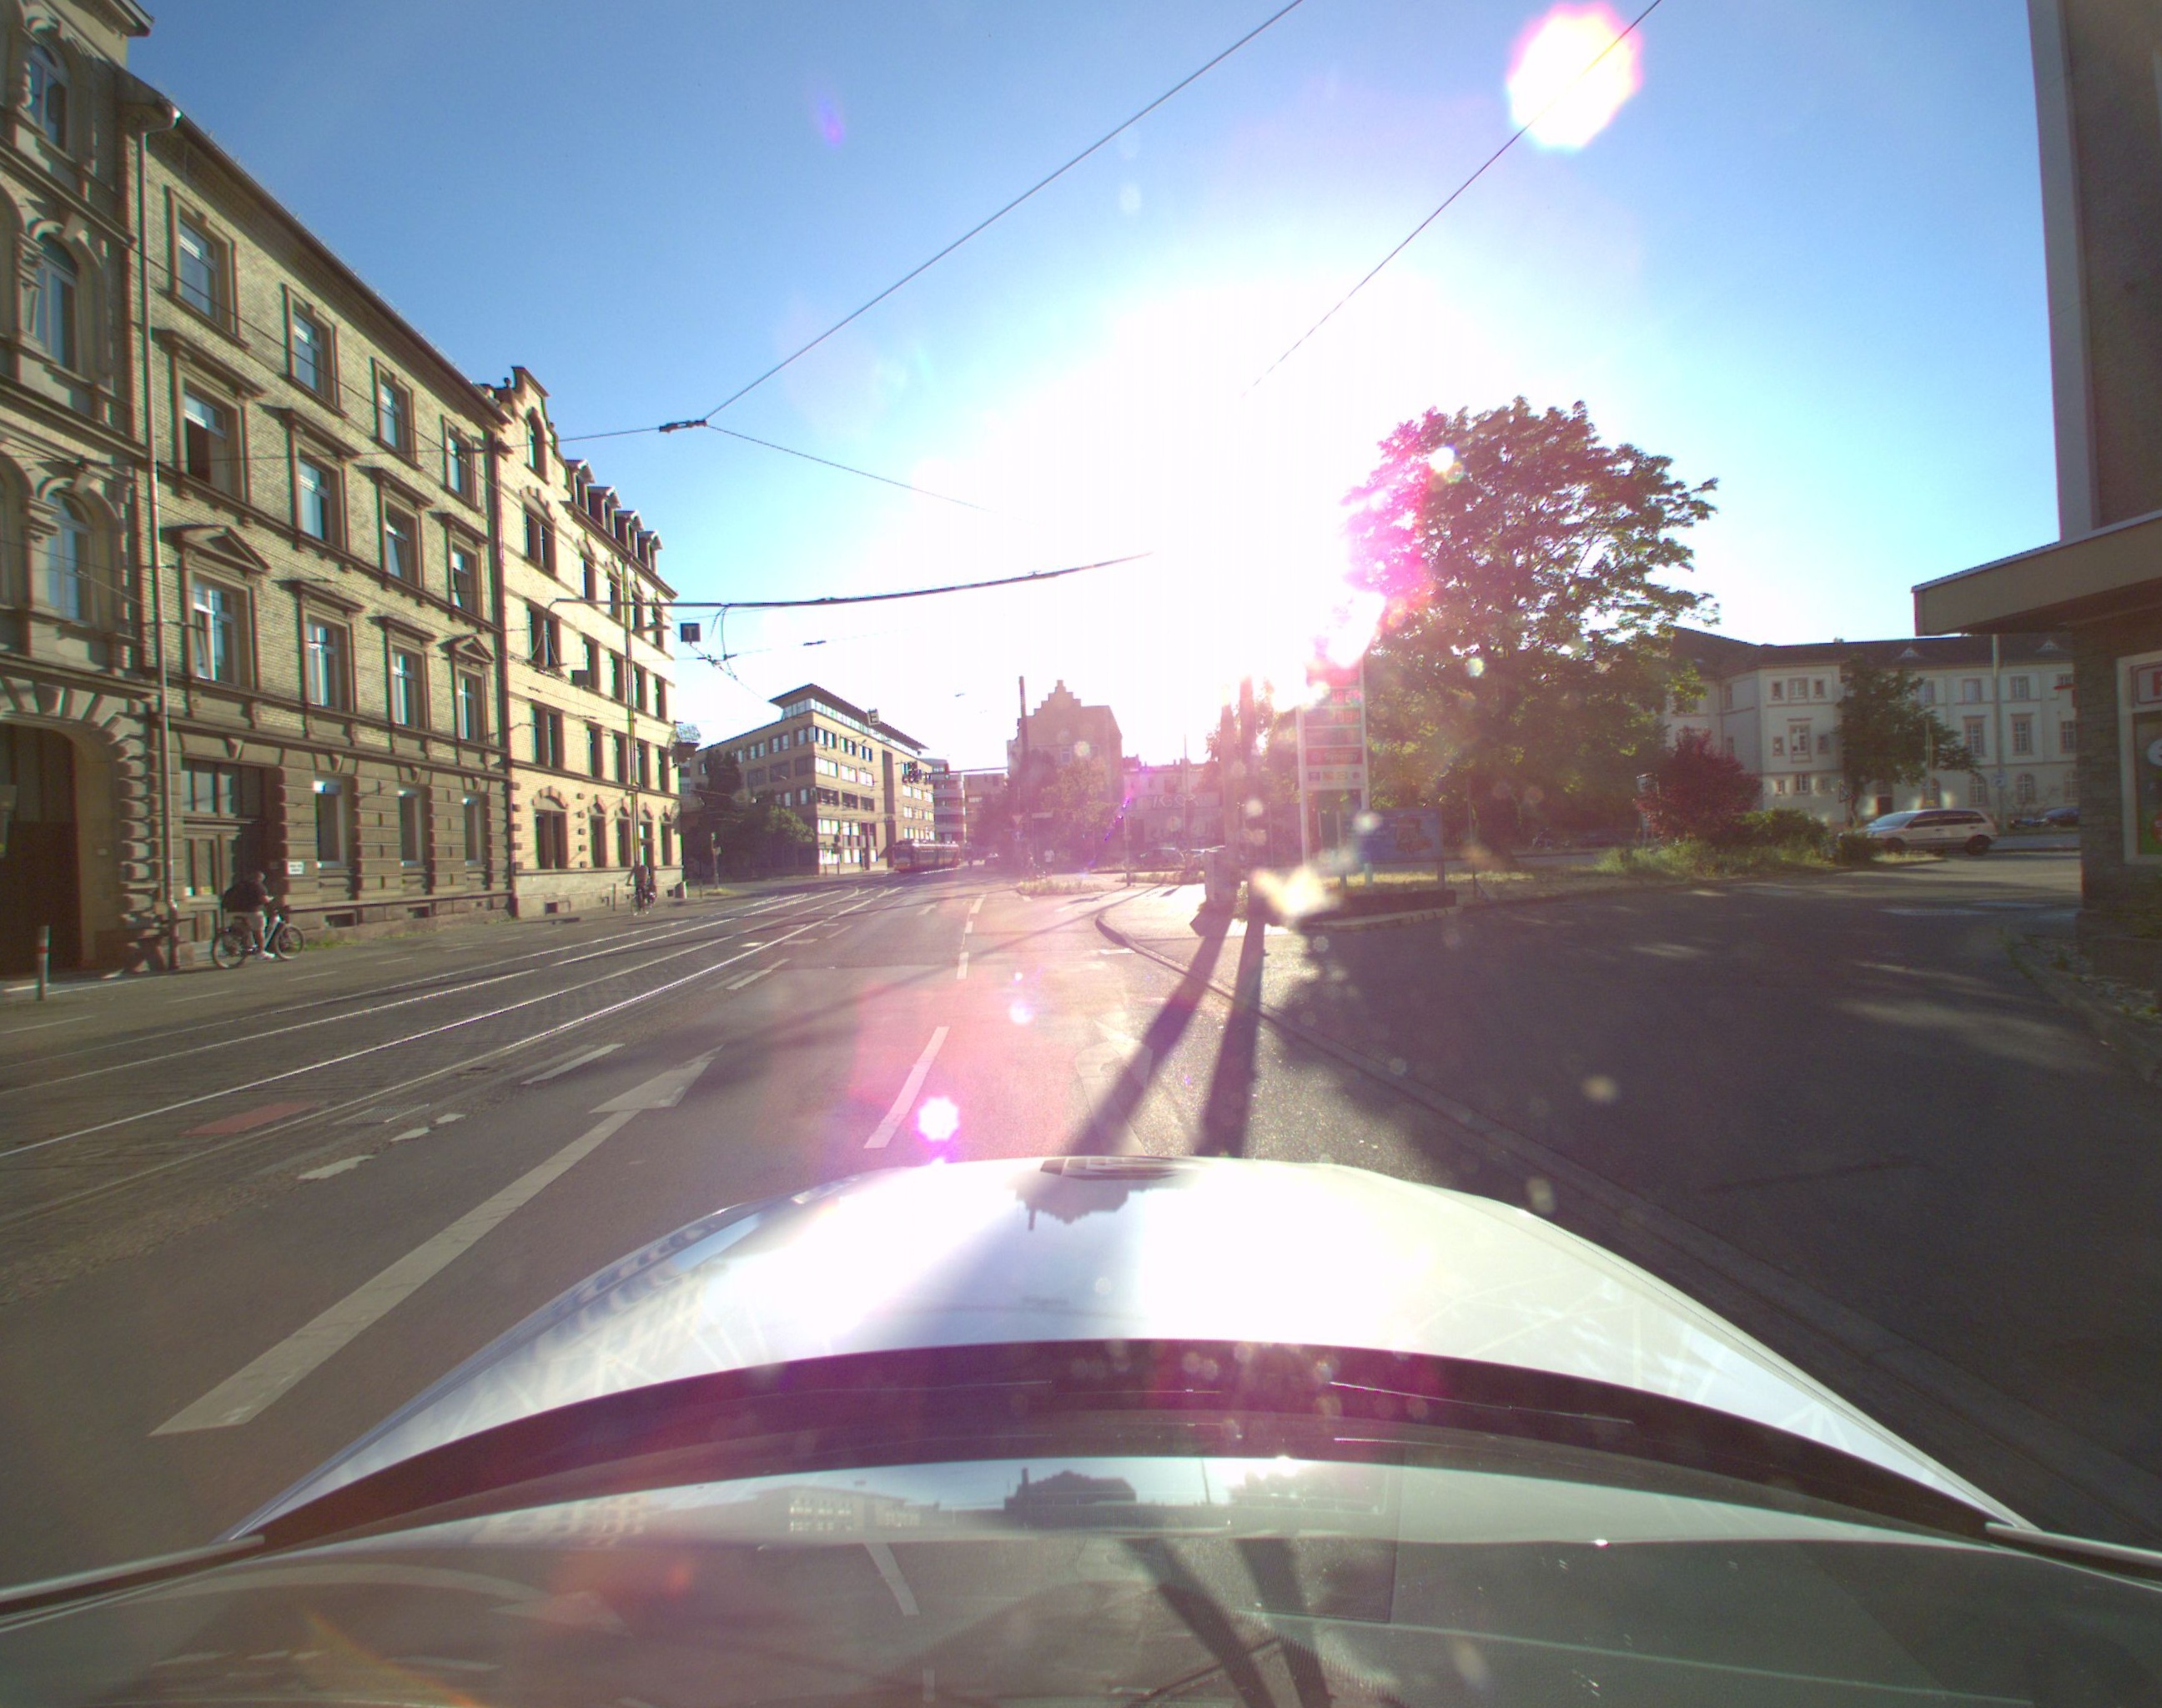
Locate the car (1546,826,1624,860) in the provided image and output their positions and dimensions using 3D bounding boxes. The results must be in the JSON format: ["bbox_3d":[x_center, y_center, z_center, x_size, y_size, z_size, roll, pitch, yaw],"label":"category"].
[{"bbox_3d":[32.696,-0.704,52.961,3.952,2.013,1.945,-3,0,22],"label":"car"}]

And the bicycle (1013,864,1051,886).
[{"bbox_3d":[-2.424,1.061,40.492,1.828,0.984,0.733,-3,0,-3],"label":"bicycle"}]

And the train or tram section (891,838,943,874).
[{"bbox_3d":[-18.193,0.208,91.508,2.232,3.574,14.286,-3,0,3],"label":"train or tram section"}]

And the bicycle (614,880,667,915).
[{"bbox_3d":[-15.570,1.529,28.839,0.946,1.097,1.993,-3,0,-8],"label":"bicycle"}]

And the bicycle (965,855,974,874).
[{"bbox_3d":[-11.330,1.051,82.582,0.563,1.806,1.359,-3,0,3],"label":"bicycle"}]

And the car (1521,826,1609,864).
[{"bbox_3d":[28.477,-0.544,48.004,3.962,2.013,1.940,-3,0,10],"label":"car"}]

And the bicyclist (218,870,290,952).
[{"bbox_3d":[-15.674,1.062,15.450,0.590,1.491,0.702,-3,0,-2],"label":"bicyclist"}]

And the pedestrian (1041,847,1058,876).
[{"bbox_3d":[-1.896,0.446,49.826,0.923,1.692,0.778,-3,0,1],"label":"pedestrian"}]

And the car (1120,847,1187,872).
[{"bbox_3d":[4.709,0.347,52.864,3.957,1.453,1.817,-3,0,15],"label":"car"}]

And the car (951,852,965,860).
[{"bbox_3d":[-22.723,0.291,150.695,1.787,1.409,4.002,-3,0,2],"label":"car"}]

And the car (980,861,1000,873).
[{"bbox_3d":[-11.575,1.631,103.834,1.986,1.464,4.001,-3,0,1],"label":"car"}]

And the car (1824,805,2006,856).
[{"bbox_3d":[27.258,-0.742,26.735,3.853,1.420,1.808,-3,0,8],"label":"car"}]

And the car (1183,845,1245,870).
[{"bbox_3d":[9.089,0.248,55.531,3.957,1.507,1.679,-3,0,15],"label":"car"}]

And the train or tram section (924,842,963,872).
[{"bbox_3d":[-17.543,0.362,104.686,2.214,3.580,12.216,-3,0,2],"label":"train or tram section"}]

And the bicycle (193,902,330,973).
[{"bbox_3d":[-15.663,1.557,15.655,0.500,1.132,2.124,-3,0,-2],"label":"bicycle"}]

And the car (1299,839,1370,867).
[{"bbox_3d":[15.389,-0.072,49.661,3.959,1.453,1.693,-3,0,13],"label":"car"}]

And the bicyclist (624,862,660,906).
[{"bbox_3d":[-15.603,1.045,28.943,0.842,1.514,0.799,-3,0,-8],"label":"bicyclist"}]

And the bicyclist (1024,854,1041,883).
[{"bbox_3d":[-2.412,0.729,40.514,0.802,1.413,0.623,-3,-1,-2],"label":"bicyclist"}]
